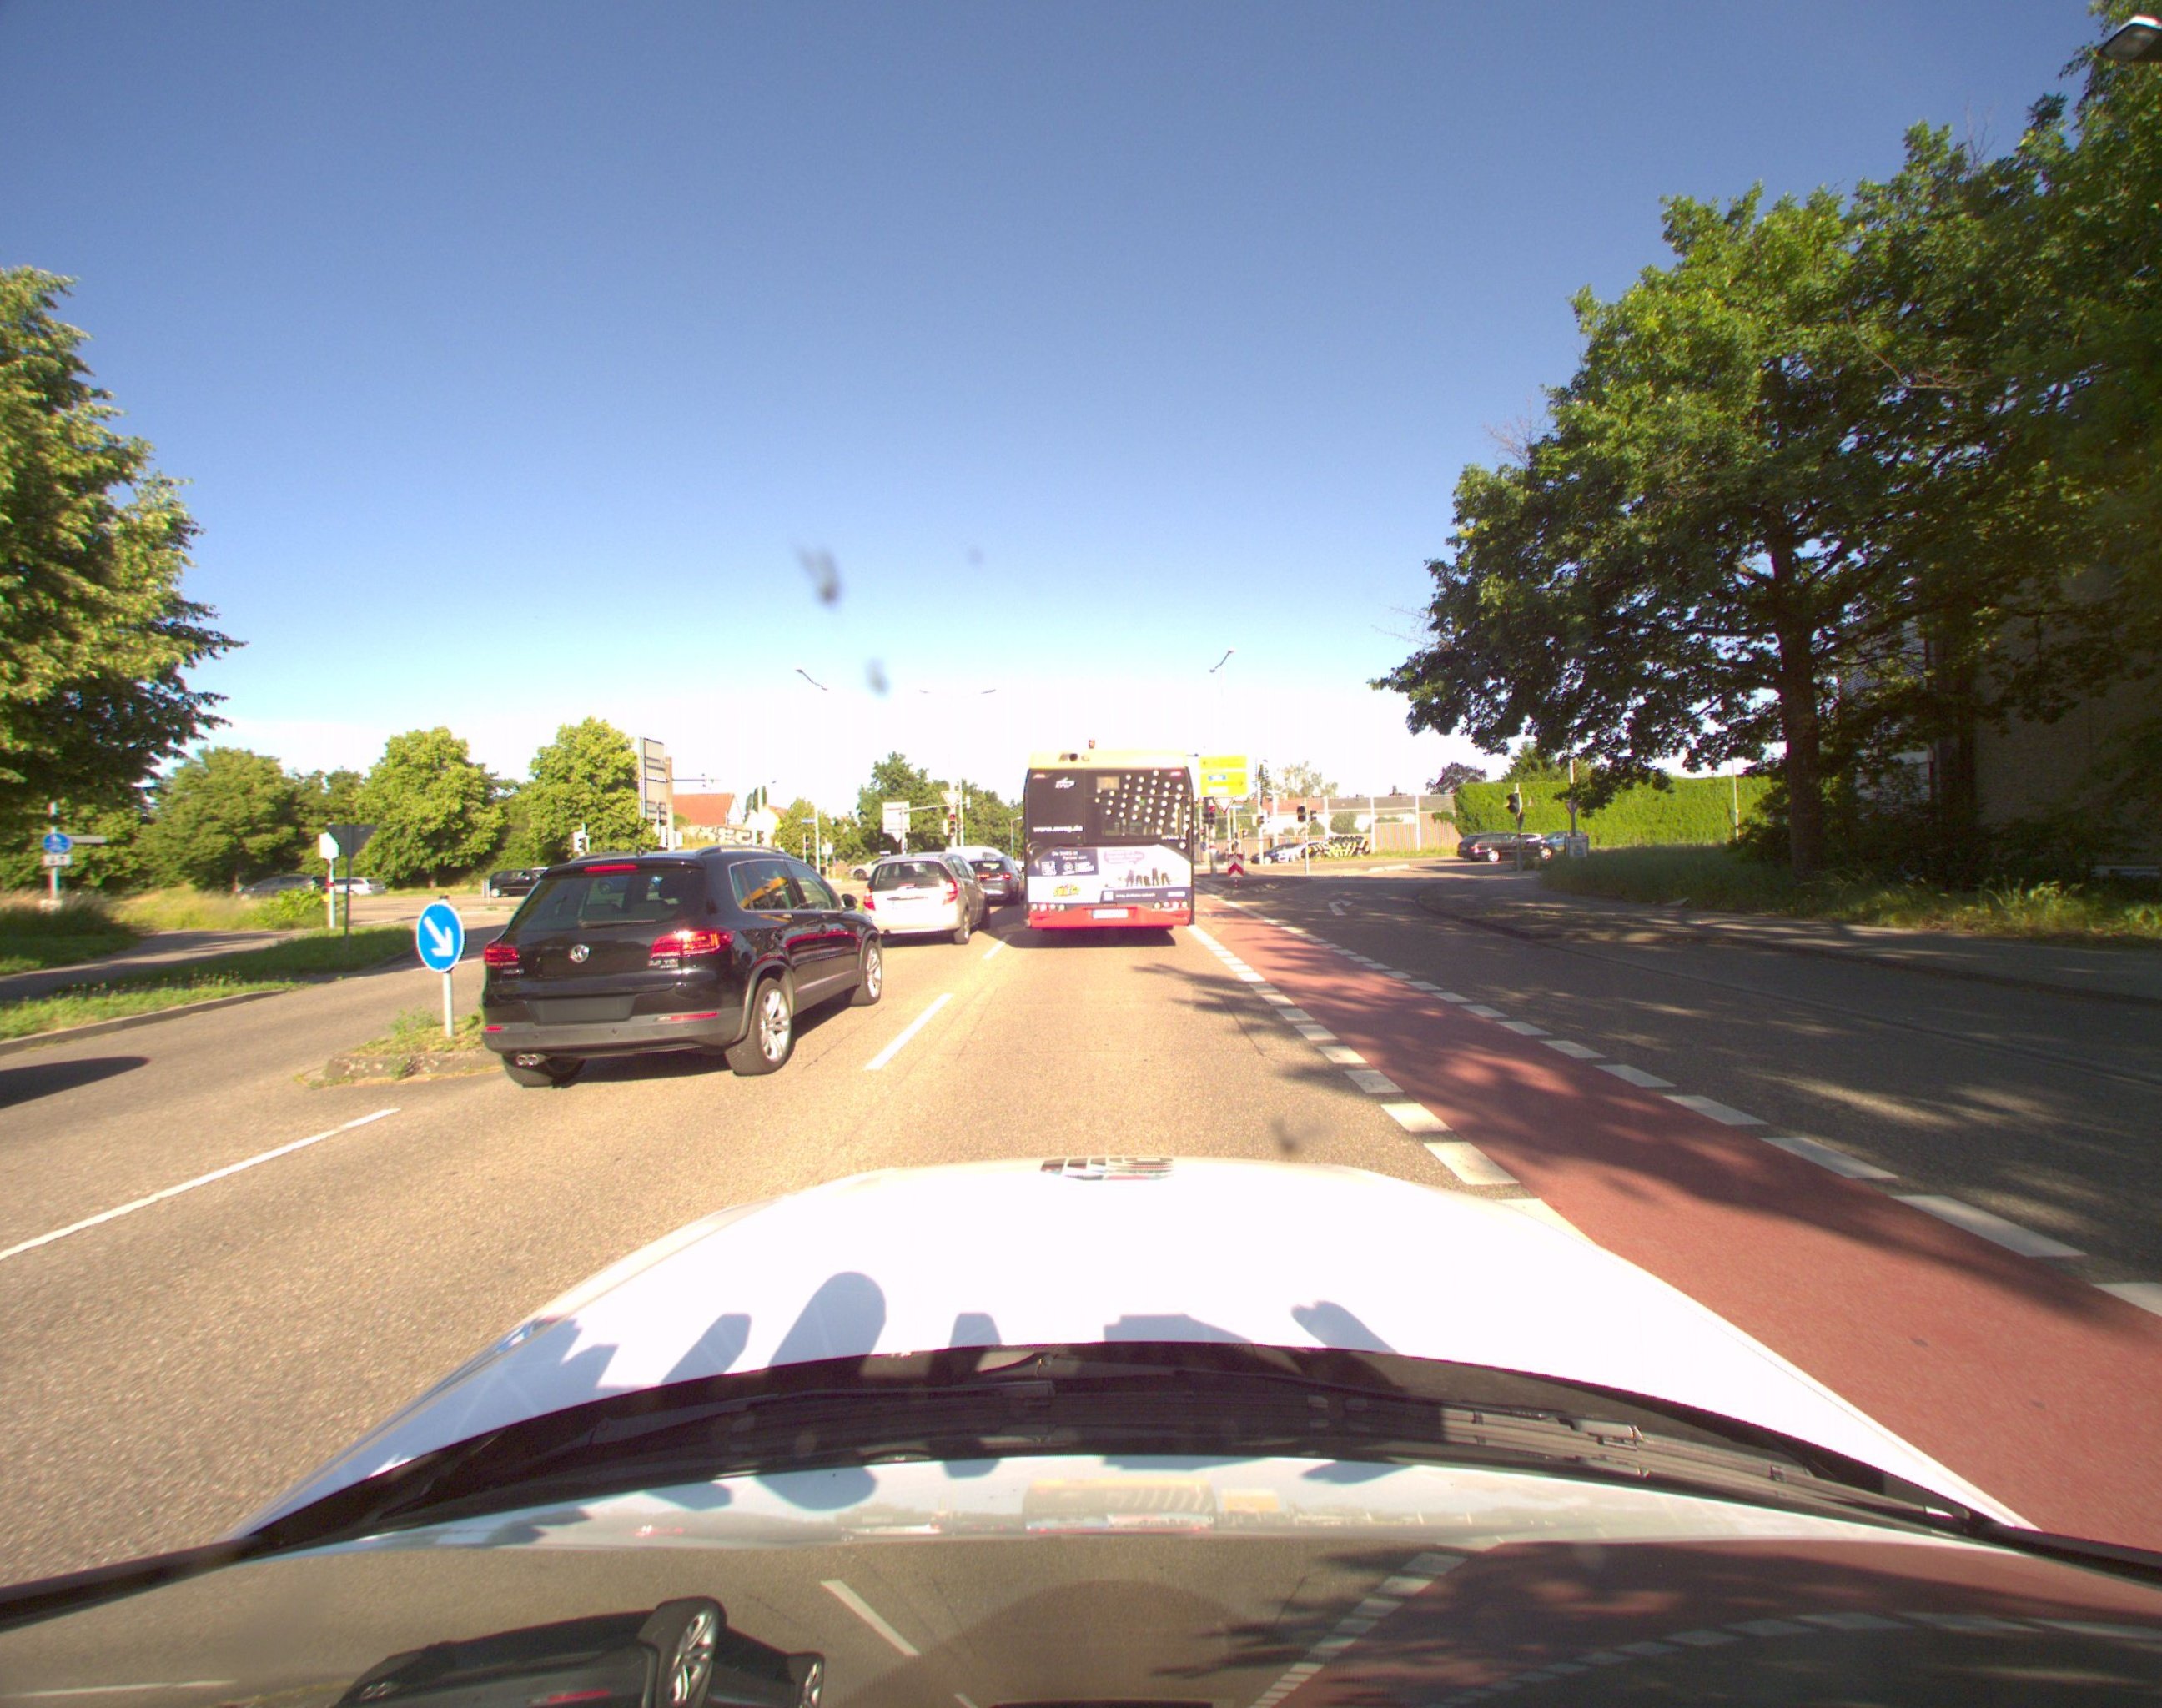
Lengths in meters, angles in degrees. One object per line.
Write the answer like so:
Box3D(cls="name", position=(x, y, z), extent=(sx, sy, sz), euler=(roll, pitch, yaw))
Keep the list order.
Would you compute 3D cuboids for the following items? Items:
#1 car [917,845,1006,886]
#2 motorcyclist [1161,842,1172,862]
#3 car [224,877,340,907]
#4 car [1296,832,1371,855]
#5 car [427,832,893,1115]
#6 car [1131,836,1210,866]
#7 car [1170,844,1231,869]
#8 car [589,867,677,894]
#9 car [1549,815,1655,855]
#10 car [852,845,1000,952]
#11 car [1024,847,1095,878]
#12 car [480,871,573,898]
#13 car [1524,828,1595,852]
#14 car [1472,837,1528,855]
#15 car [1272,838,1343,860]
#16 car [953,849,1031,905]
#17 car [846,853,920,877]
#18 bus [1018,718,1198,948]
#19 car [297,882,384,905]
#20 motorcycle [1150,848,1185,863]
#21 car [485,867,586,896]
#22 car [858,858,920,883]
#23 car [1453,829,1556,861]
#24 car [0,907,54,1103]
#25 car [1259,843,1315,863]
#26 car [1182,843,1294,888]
Box3D(cls="car", position=(-5.734, 0.563, 39.438), extent=(4.106, 1.801, 1.455), euler=(-2, -1, -6))
Box3D(cls="motorcyclist", position=(5.596, -0.150, 53.550), extent=(0.583, 1.273, 0.426), euler=(-3, -1, -4))
Box3D(cls="car", position=(-47.454, 2.245, 48.444), extent=(4.693, 1.540, 1.997), euler=(-2, 0, -4))
Box3D(cls="car", position=(15.591, -0.634, 50.319), extent=(4.148, 1.302, 1.574), euler=(-1, -1, -2))
Box3D(cls="car", position=(-3.104, 0.771, 7.094), extent=(1.814, 1.673, 4.004), euler=(-3, -1, 1))
Box3D(cls="car", position=(5.036, -0.156, 46.061), extent=(4.211, 1.562, 1.761), euler=(-1, -1, -3))
Box3D(cls="car", position=(8.500, 0.164, 58.144), extent=(3.979, 1.612, 1.693), euler=(-2, 0, -4))
Box3D(cls="car", position=(-24.482, 1.425, 44.571), extent=(3.842, 1.385, 1.678), euler=(-1, -1, -7))
Box3D(cls="car", position=(18.052, -0.638, 28.232), extent=(3.412, 1.296, 1.449), euler=(0, -1, -24))
Box3D(cls="car", position=(-2.722, 0.708, 15.238), extent=(1.747, 1.620, 4.037), euler=(-2, 1, 3))
Box3D(cls="car", position=(-1.168, 0.453, 43.468), extent=(3.664, 1.485, 1.591), euler=(-2, -1, -5))
Box3D(cls="car", position=(-29.782, 1.633, 43.792), extent=(3.842, 1.313, 1.504), euler=(-1, -1, -7))
Box3D(cls="car", position=(32.665, -0.973, 55.639), extent=(3.980, 1.553, 1.693), euler=(-1, -1, -5))
Box3D(cls="car", position=(31.740, -0.585, 61.699), extent=(3.571, 1.265, 1.353), euler=(-2, 0, 0))
Box3D(cls="car", position=(14.930, -0.306, 53.787), extent=(4.277, 1.302, 1.574), euler=(-2, 0, -2))
Box3D(cls="car", position=(-2.545, 0.639, 24.074), extent=(1.581, 1.485, 3.687), euler=(-2, -1, 4))
Box3D(cls="car", position=(-12.508, 0.712, 51.719), extent=(4.414, 1.459, 1.569), euler=(-1, -1, -10))
Box3D(cls="bus", position=(0.594, -0.334, 17.884), extent=(2.586, 3.334, 11.989), euler=(-1, 0, 2))
Box3D(cls="car", position=(-46.898, 2.487, 51.608), extent=(3.838, 1.340, 1.680), euler=(-1, -1, -4))
Box3D(cls="motorcycle", position=(5.697, 0.096, 53.551), extent=(2.185, 0.874, 0.451), euler=(-3, -1, -4))
Box3D(cls="car", position=(-33.251, 1.656, 49.709), extent=(4.690, 1.540, 1.998), euler=(-2, 0, -2))
Box3D(cls="car", position=(-13.570, 1.180, 57.702), extent=(3.979, 1.612, 1.693), euler=(-2, 0, -4))
Box3D(cls="car", position=(21.627, -0.470, 41.678), extent=(4.450, 1.441, 1.681), euler=(-2, 0, -2))
Box3D(cls="car", position=(-8.622, 1.182, 3.833), extent=(1.992, 1.403, 4.575), euler=(-5, 1, -8))
Box3D(cls="car", position=(14.436, -0.089, 57.151), extent=(3.513, 1.302, 1.574), euler=(-2, 0, -2))
Box3D(cls="car", position=(5.206, 0.363, 27.072), extent=(3.500, 1.302, 1.579), euler=(-2, 1, 10))
